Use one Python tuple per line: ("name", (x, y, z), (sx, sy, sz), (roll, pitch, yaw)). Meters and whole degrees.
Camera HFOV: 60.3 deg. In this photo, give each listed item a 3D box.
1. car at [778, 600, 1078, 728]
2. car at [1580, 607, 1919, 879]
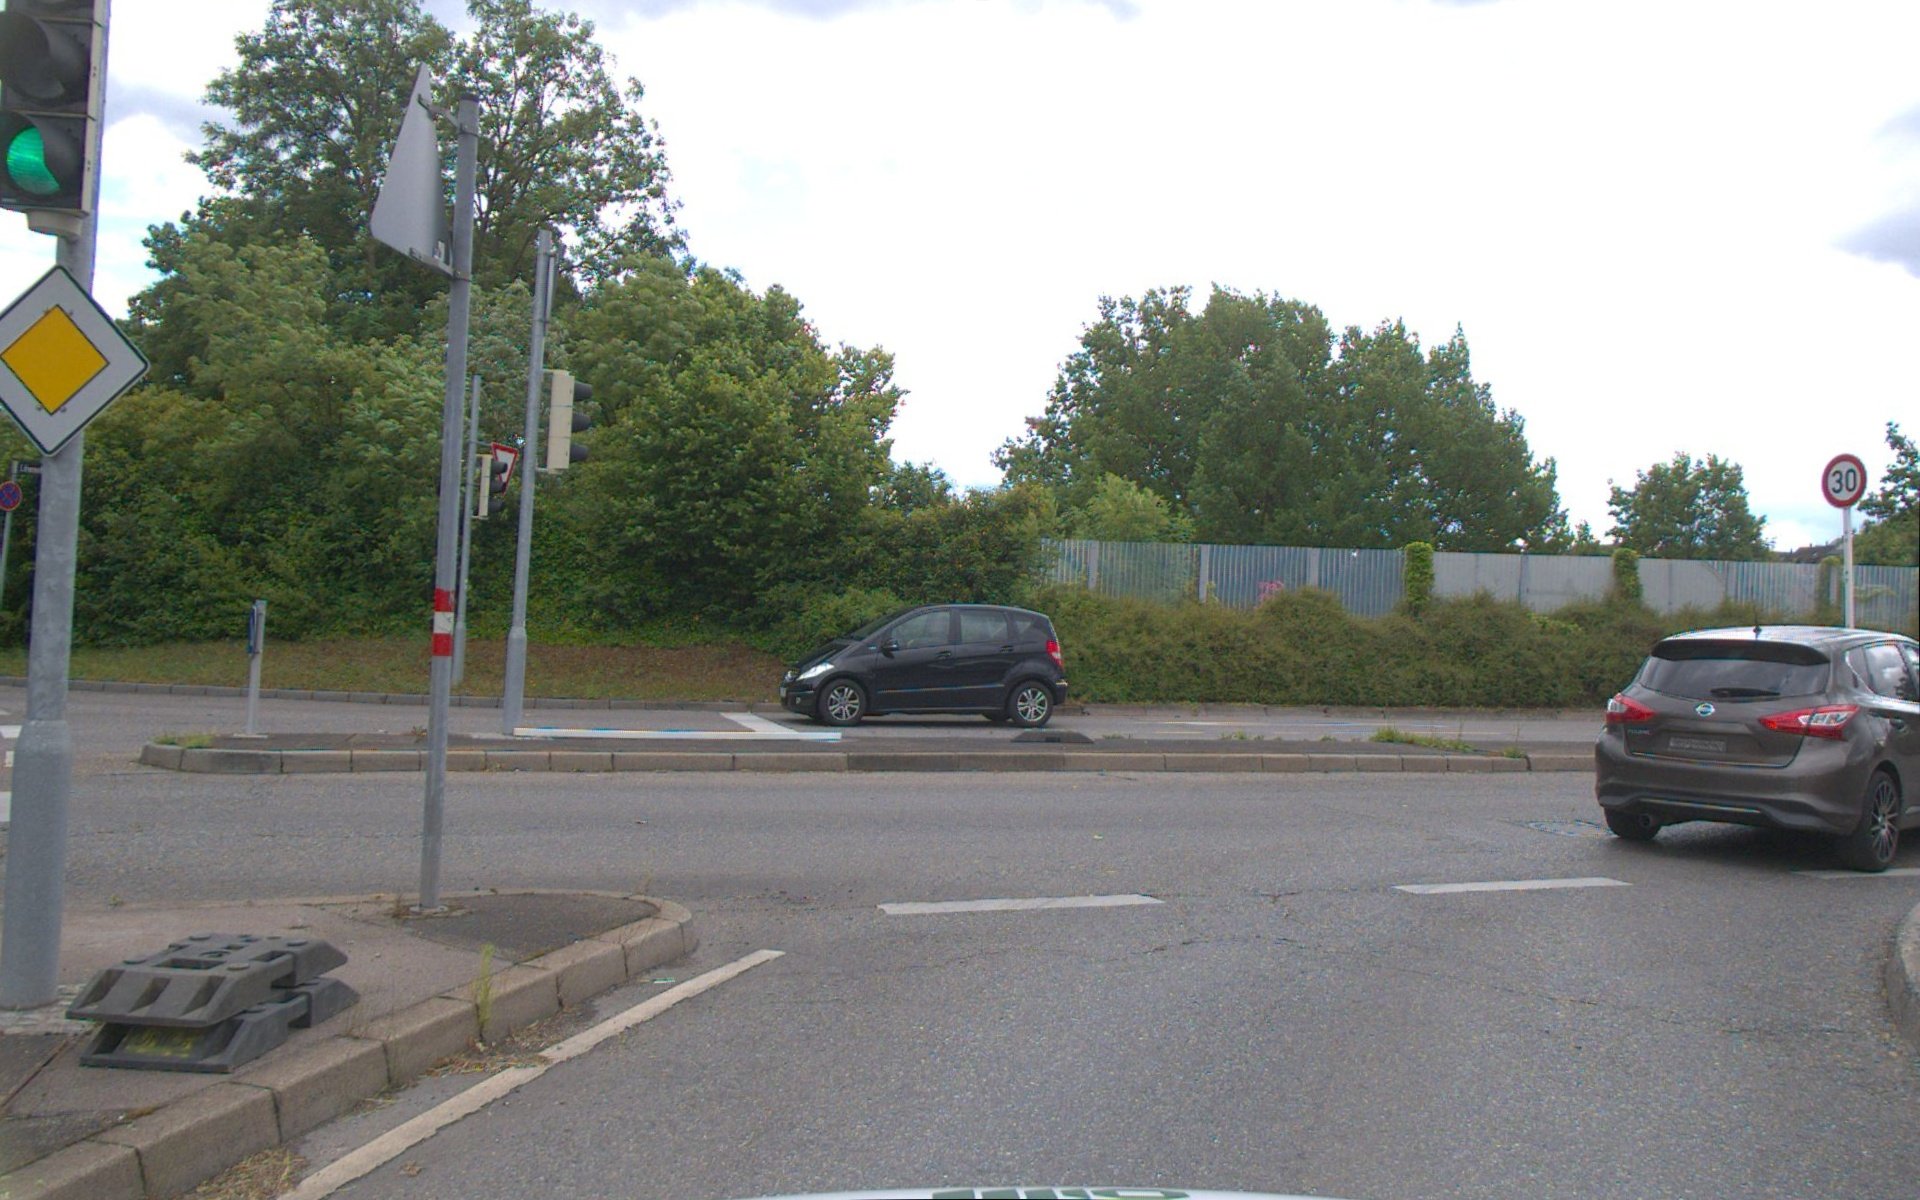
("car", (-0.450, 0.868, 22.020), (3.713, 1.579, 1.637), (2, -2, -15))
("car", (6.171, 0.898, 11.856), (1.773, 1.579, 3.971), (1, -1, 44))
